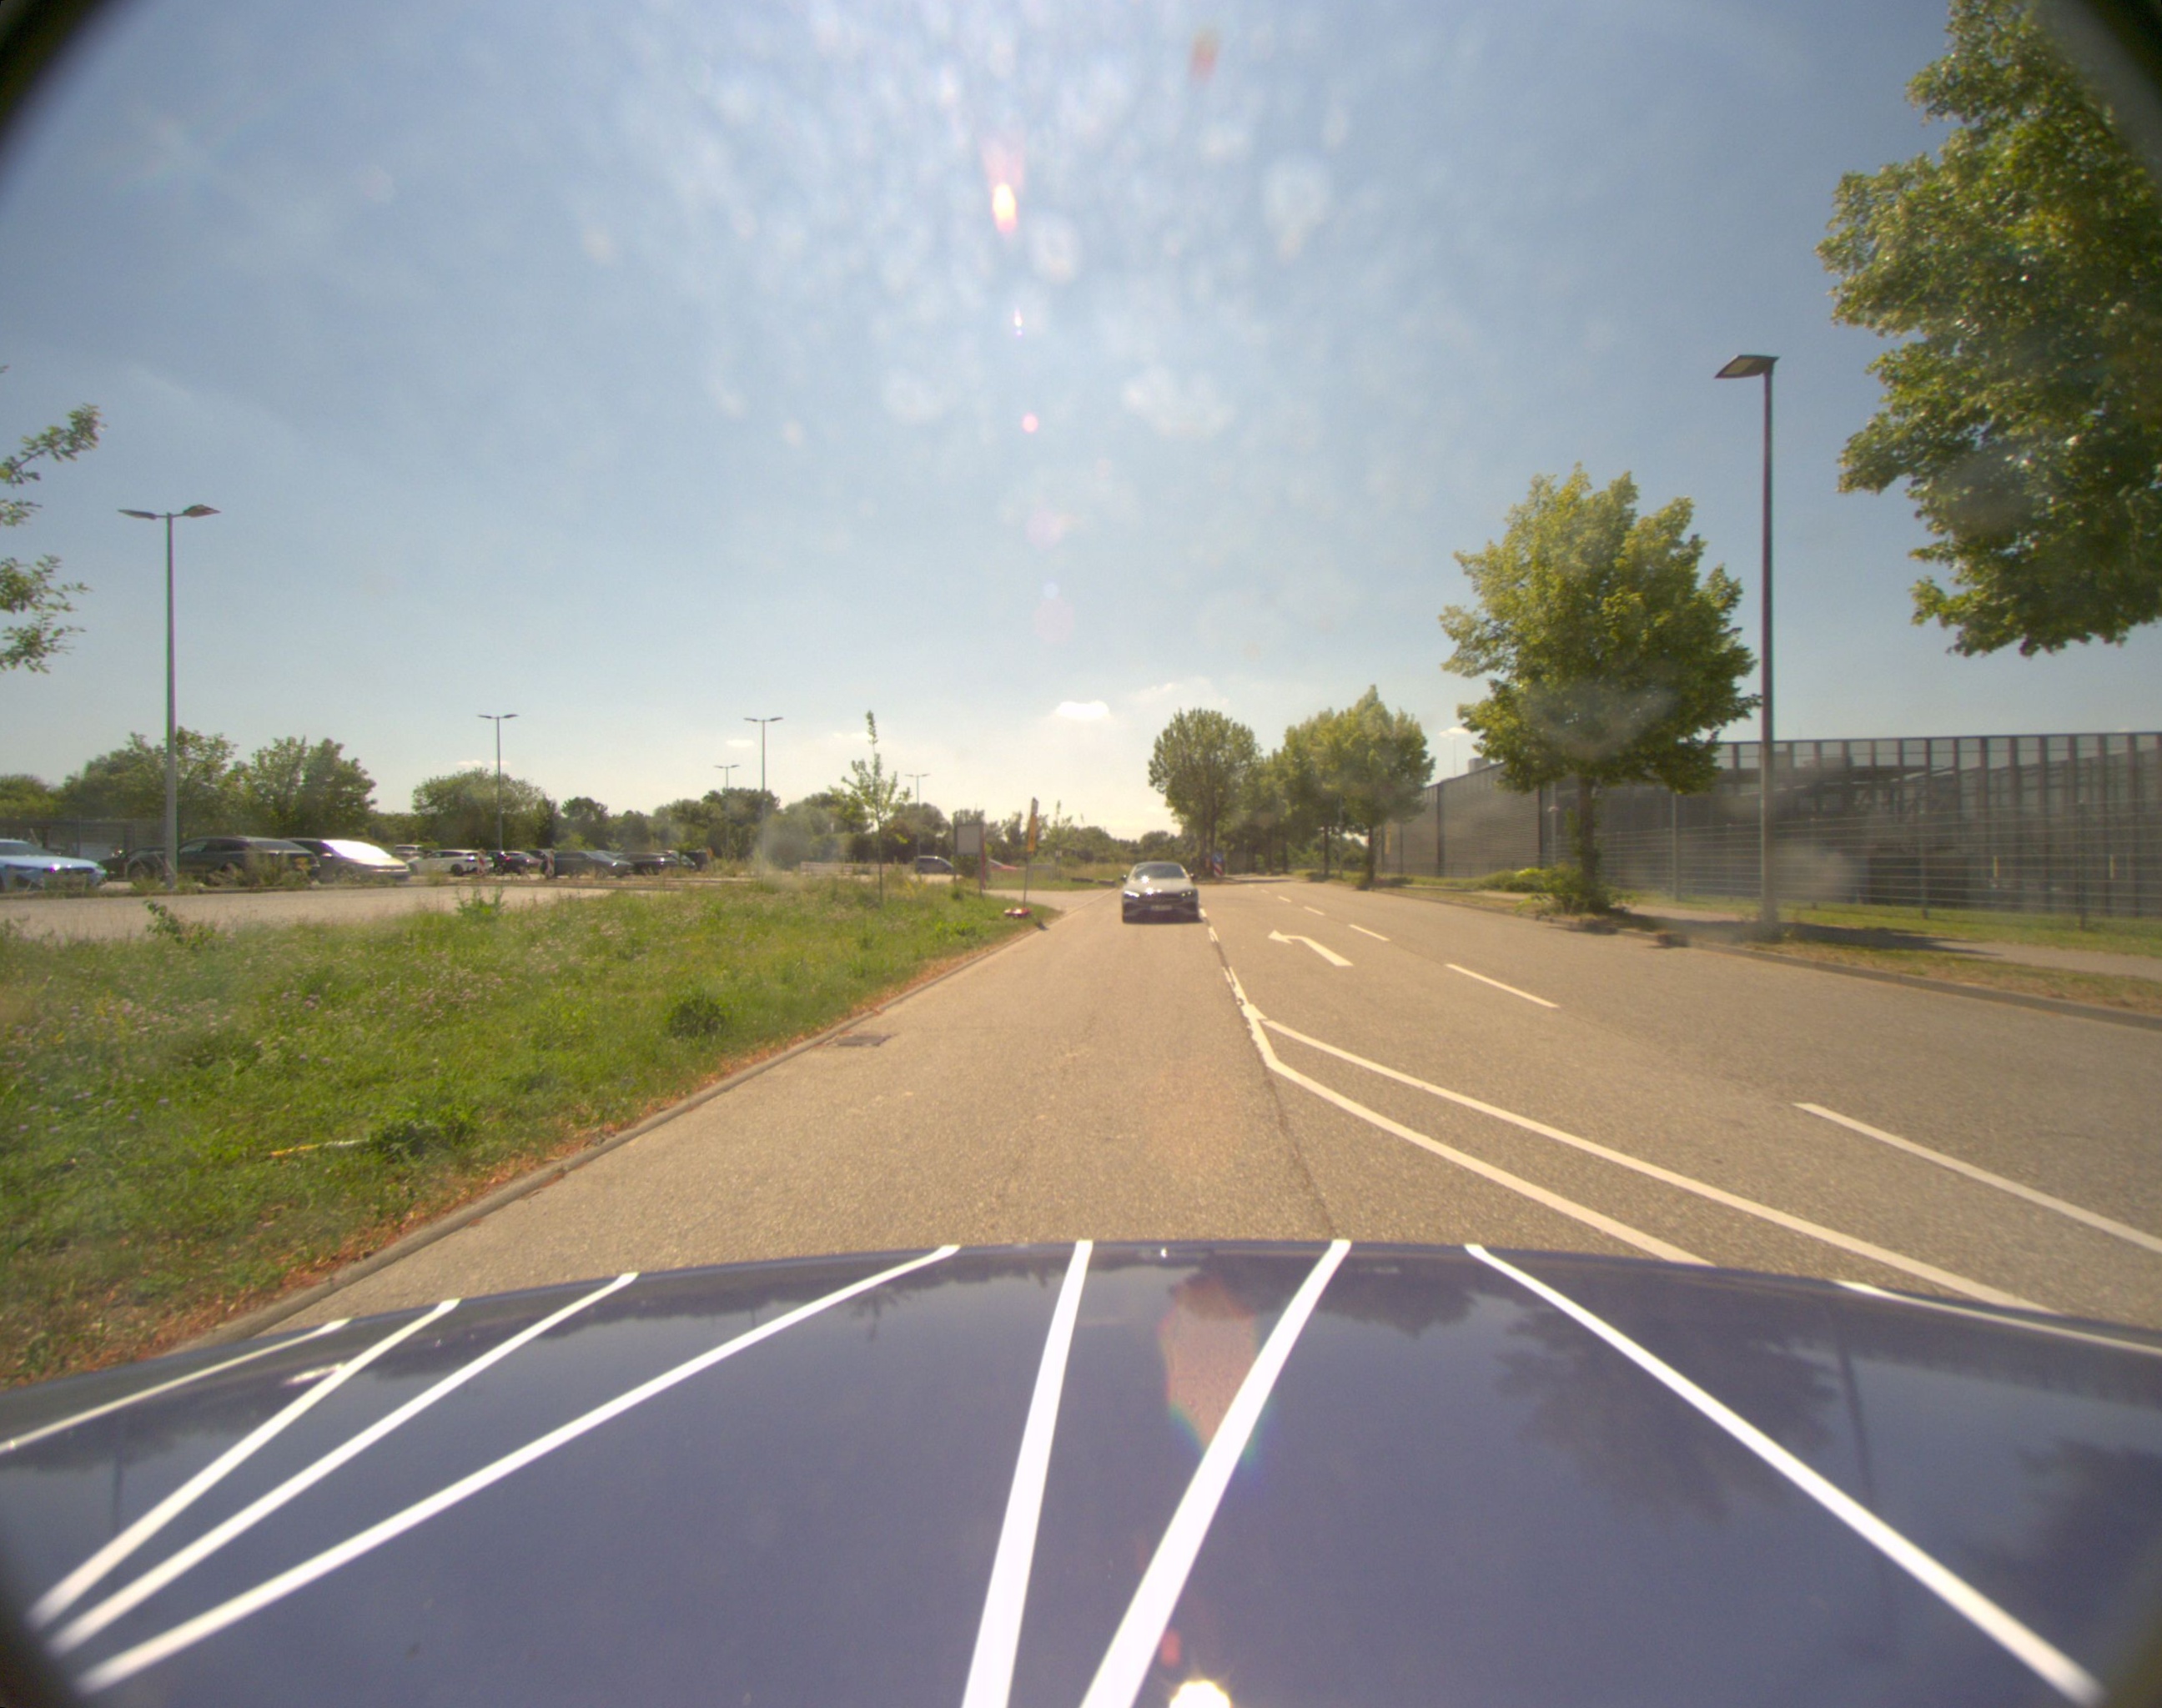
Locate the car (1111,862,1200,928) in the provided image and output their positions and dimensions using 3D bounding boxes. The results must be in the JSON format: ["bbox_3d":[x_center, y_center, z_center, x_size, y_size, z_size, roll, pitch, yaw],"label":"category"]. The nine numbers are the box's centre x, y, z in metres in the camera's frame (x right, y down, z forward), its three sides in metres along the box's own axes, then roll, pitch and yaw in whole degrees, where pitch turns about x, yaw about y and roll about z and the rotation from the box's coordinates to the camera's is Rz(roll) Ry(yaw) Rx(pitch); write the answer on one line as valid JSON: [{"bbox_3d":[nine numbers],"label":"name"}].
[{"bbox_3d":[2.068,0.993,19.959,1.920,1.433,4.485,-3,-1,10],"label":"car"}]

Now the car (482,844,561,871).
[{"bbox_3d":[-39.795,0.262,54.092,3.999,1.629,2.000,2,-3,-5],"label":"car"}]

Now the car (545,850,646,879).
[{"bbox_3d":[-24.553,0.513,38.531,3.994,1.387,1.928,1,0,7],"label":"car"}]

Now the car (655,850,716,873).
[{"bbox_3d":[-31.926,0.597,61.429,3.995,1.747,1.759,1,-1,5],"label":"car"}]

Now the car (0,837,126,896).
[{"bbox_3d":[-26.993,0.302,19.039,3.995,1.384,1.770,1,-3,4],"label":"car"}]

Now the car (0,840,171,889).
[{"bbox_3d":[-36.022,0.388,27.569,3.995,1.585,1.770,1,-3,4],"label":"car"}]

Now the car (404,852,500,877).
[{"bbox_3d":[-34.601,0.559,41.852,3.996,1.333,1.696,1,0,3],"label":"car"}]

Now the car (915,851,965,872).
[{"bbox_3d":[-14.065,0.778,75.775,4.471,1.903,1.941,1,-1,6],"label":"car"}]

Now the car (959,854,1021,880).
[{"bbox_3d":[-6.397,0.912,53.554,3.994,1.713,1.928,1,0,7],"label":"car"}]

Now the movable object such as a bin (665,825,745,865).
[{"bbox_3d":[-43.752,-0.947,88.535,8.119,4.018,2.982,3,-4,-28],"label":"movable object such as a bin"}]

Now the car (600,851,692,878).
[{"bbox_3d":[-23.666,0.534,41.403,3.994,1.387,1.928,1,0,7],"label":"car"}]

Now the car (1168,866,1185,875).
[{"bbox_3d":[17.912,3.063,142.881,2.000,1.697,3.862,0,-1,-10],"label":"car"}]

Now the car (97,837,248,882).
[{"bbox_3d":[-36.126,0.228,30.274,3.995,1.585,1.770,1,-3,4],"label":"car"}]

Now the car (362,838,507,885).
[{"bbox_3d":[-24.398,0.316,28.781,3.995,1.585,1.770,1,-3,4],"label":"car"}]

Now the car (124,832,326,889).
[{"bbox_3d":[-26.486,0.230,23.595,4.375,1.585,1.770,1,-3,4],"label":"car"}]

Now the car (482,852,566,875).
[{"bbox_3d":[-34.231,0.564,46.777,3.996,1.333,1.696,1,0,3],"label":"car"}]

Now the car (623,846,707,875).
[{"bbox_3d":[-24.555,0.375,44.915,3.994,1.632,1.928,1,0,7],"label":"car"}]

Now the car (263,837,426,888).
[{"bbox_3d":[-25.676,0.308,26.575,3.995,1.585,1.770,1,-3,4],"label":"car"}]
